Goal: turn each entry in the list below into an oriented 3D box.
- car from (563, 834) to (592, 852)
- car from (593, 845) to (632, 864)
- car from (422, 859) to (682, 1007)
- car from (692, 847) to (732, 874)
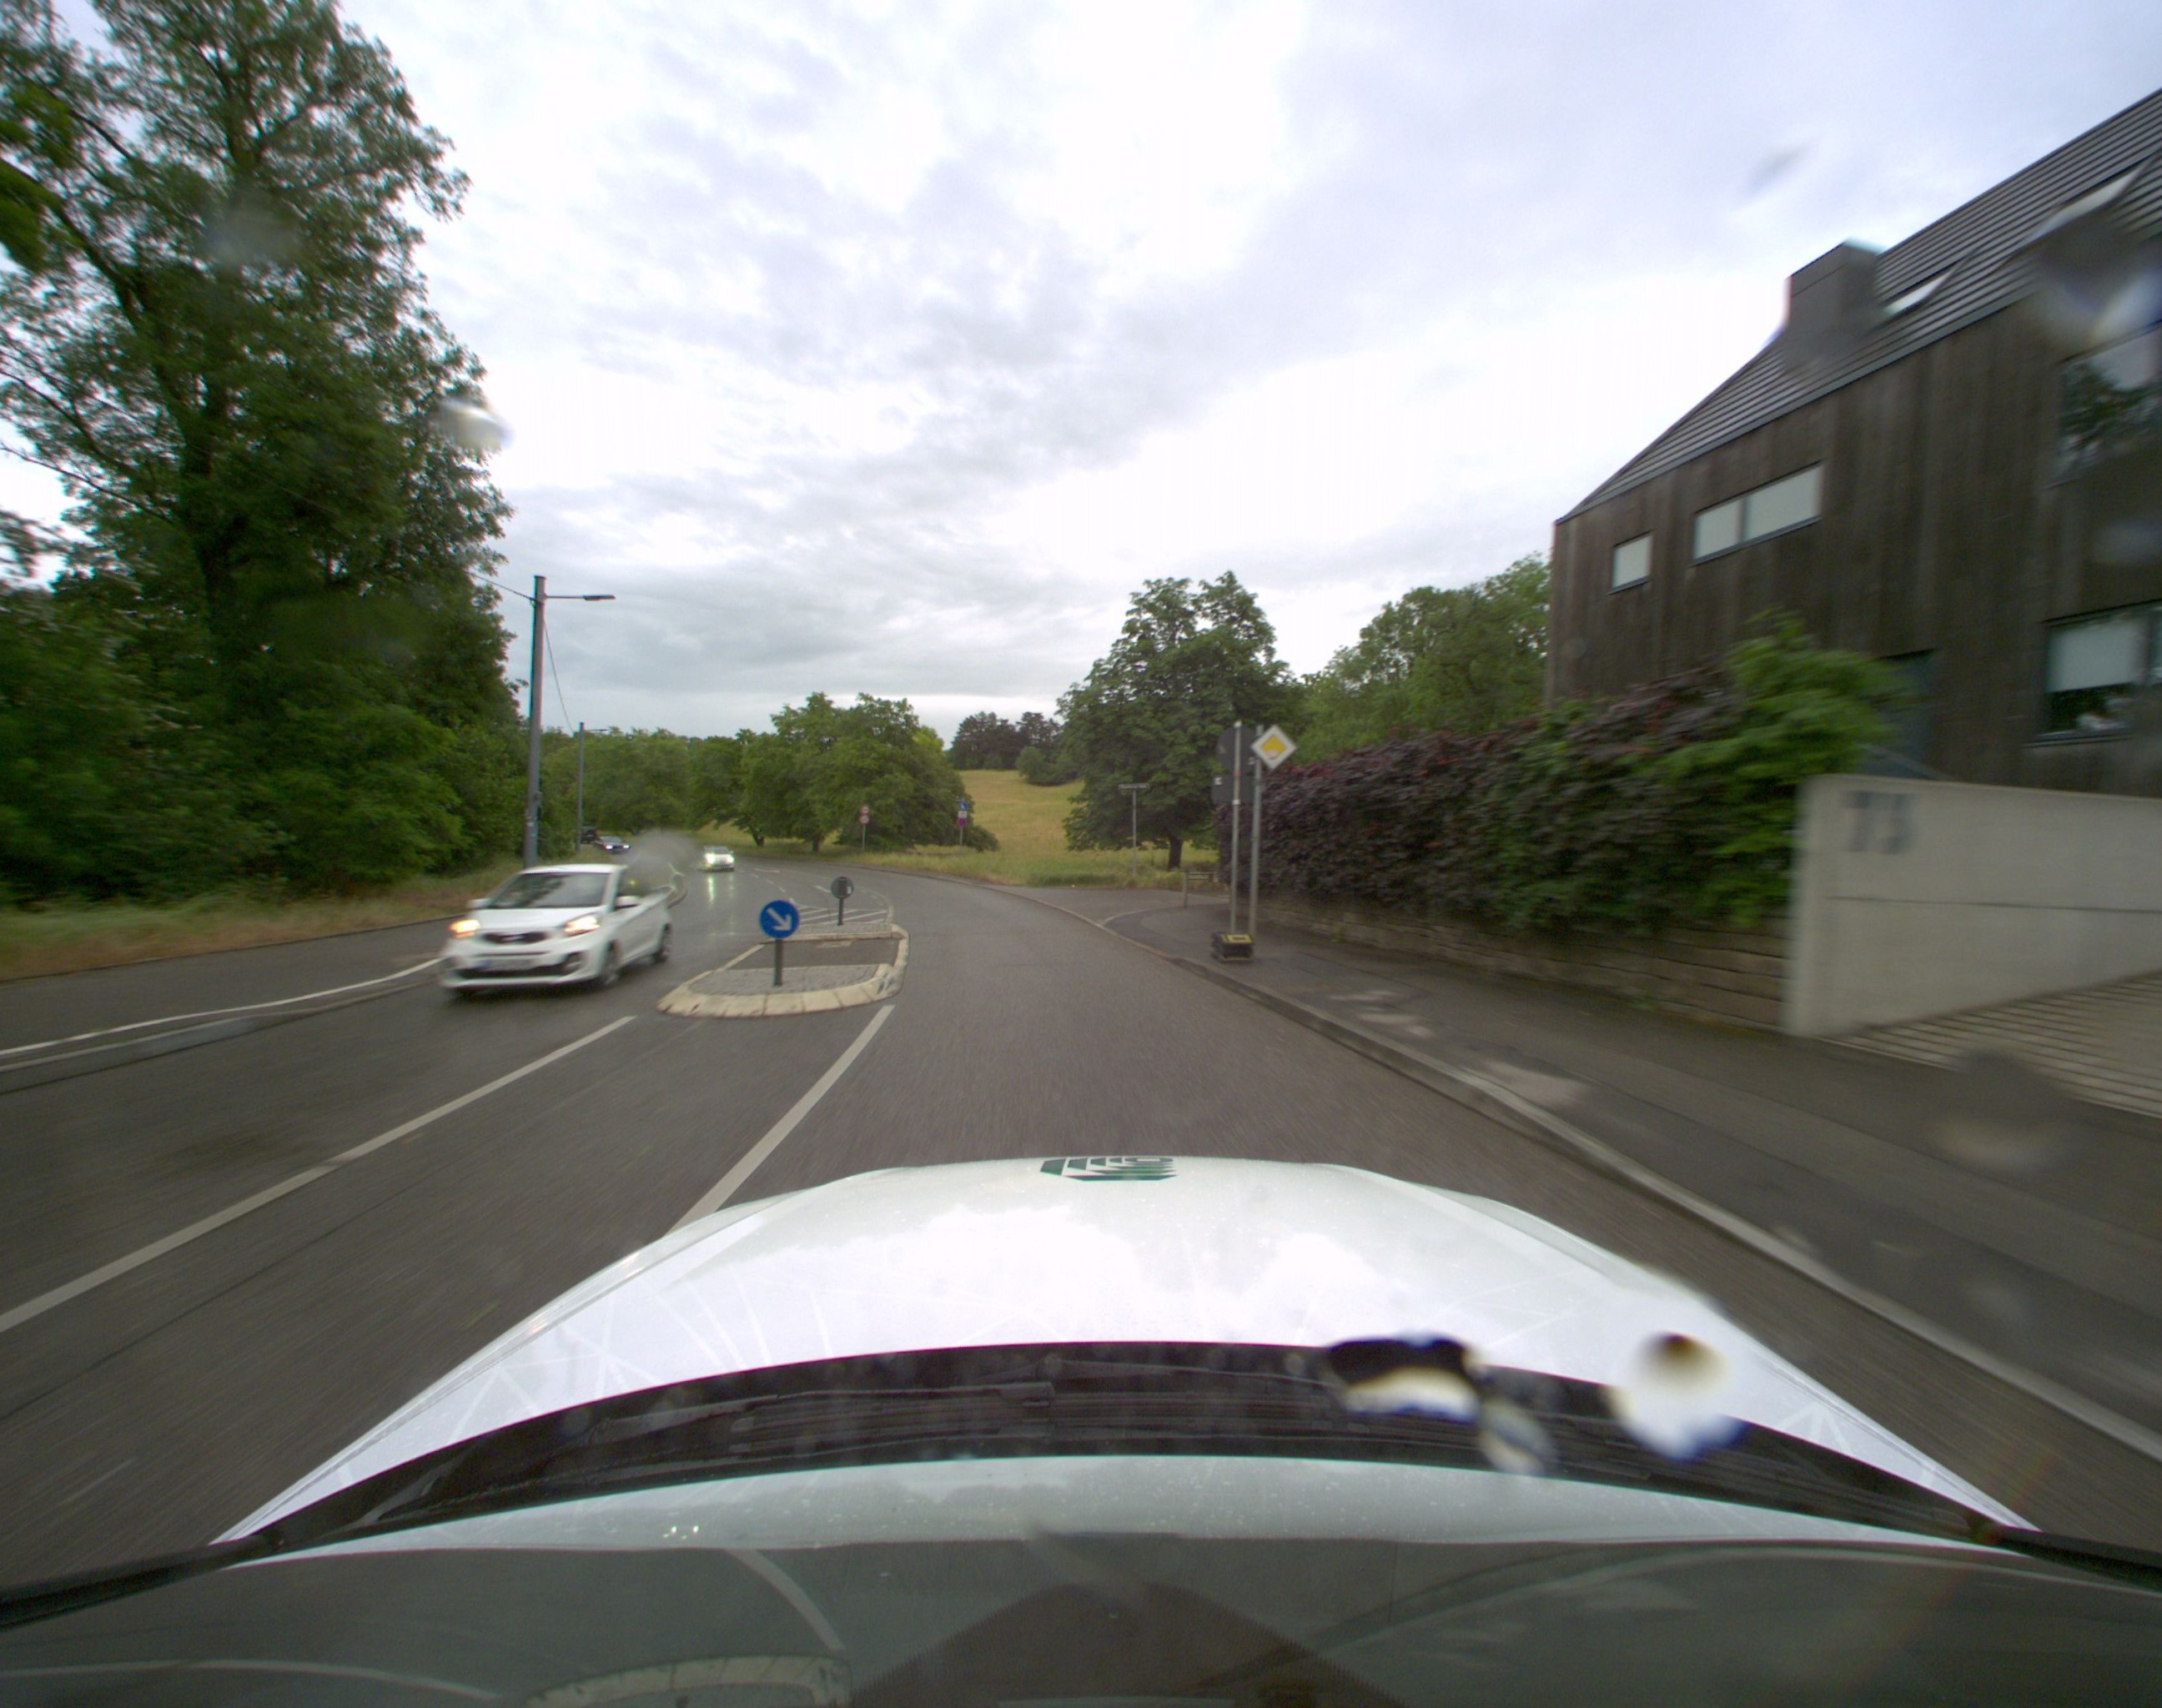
[{"bbox_3d":[-54.083,-1.171,87.461,3.951,1.716,1.757,4,1,45],"label":"car"},{"bbox_3d":[-40.365,0.065,70.110,1.863,1.501,4.575,-3,2,-42],"label":"car"},{"bbox_3d":[-6.574,0.845,10.623,1.634,1.454,3.786,0,1,-13],"label":"car"},{"bbox_3d":[-21.558,0.352,47.539,1.577,1.477,3.629,-1,0,-33],"label":"car"}]
